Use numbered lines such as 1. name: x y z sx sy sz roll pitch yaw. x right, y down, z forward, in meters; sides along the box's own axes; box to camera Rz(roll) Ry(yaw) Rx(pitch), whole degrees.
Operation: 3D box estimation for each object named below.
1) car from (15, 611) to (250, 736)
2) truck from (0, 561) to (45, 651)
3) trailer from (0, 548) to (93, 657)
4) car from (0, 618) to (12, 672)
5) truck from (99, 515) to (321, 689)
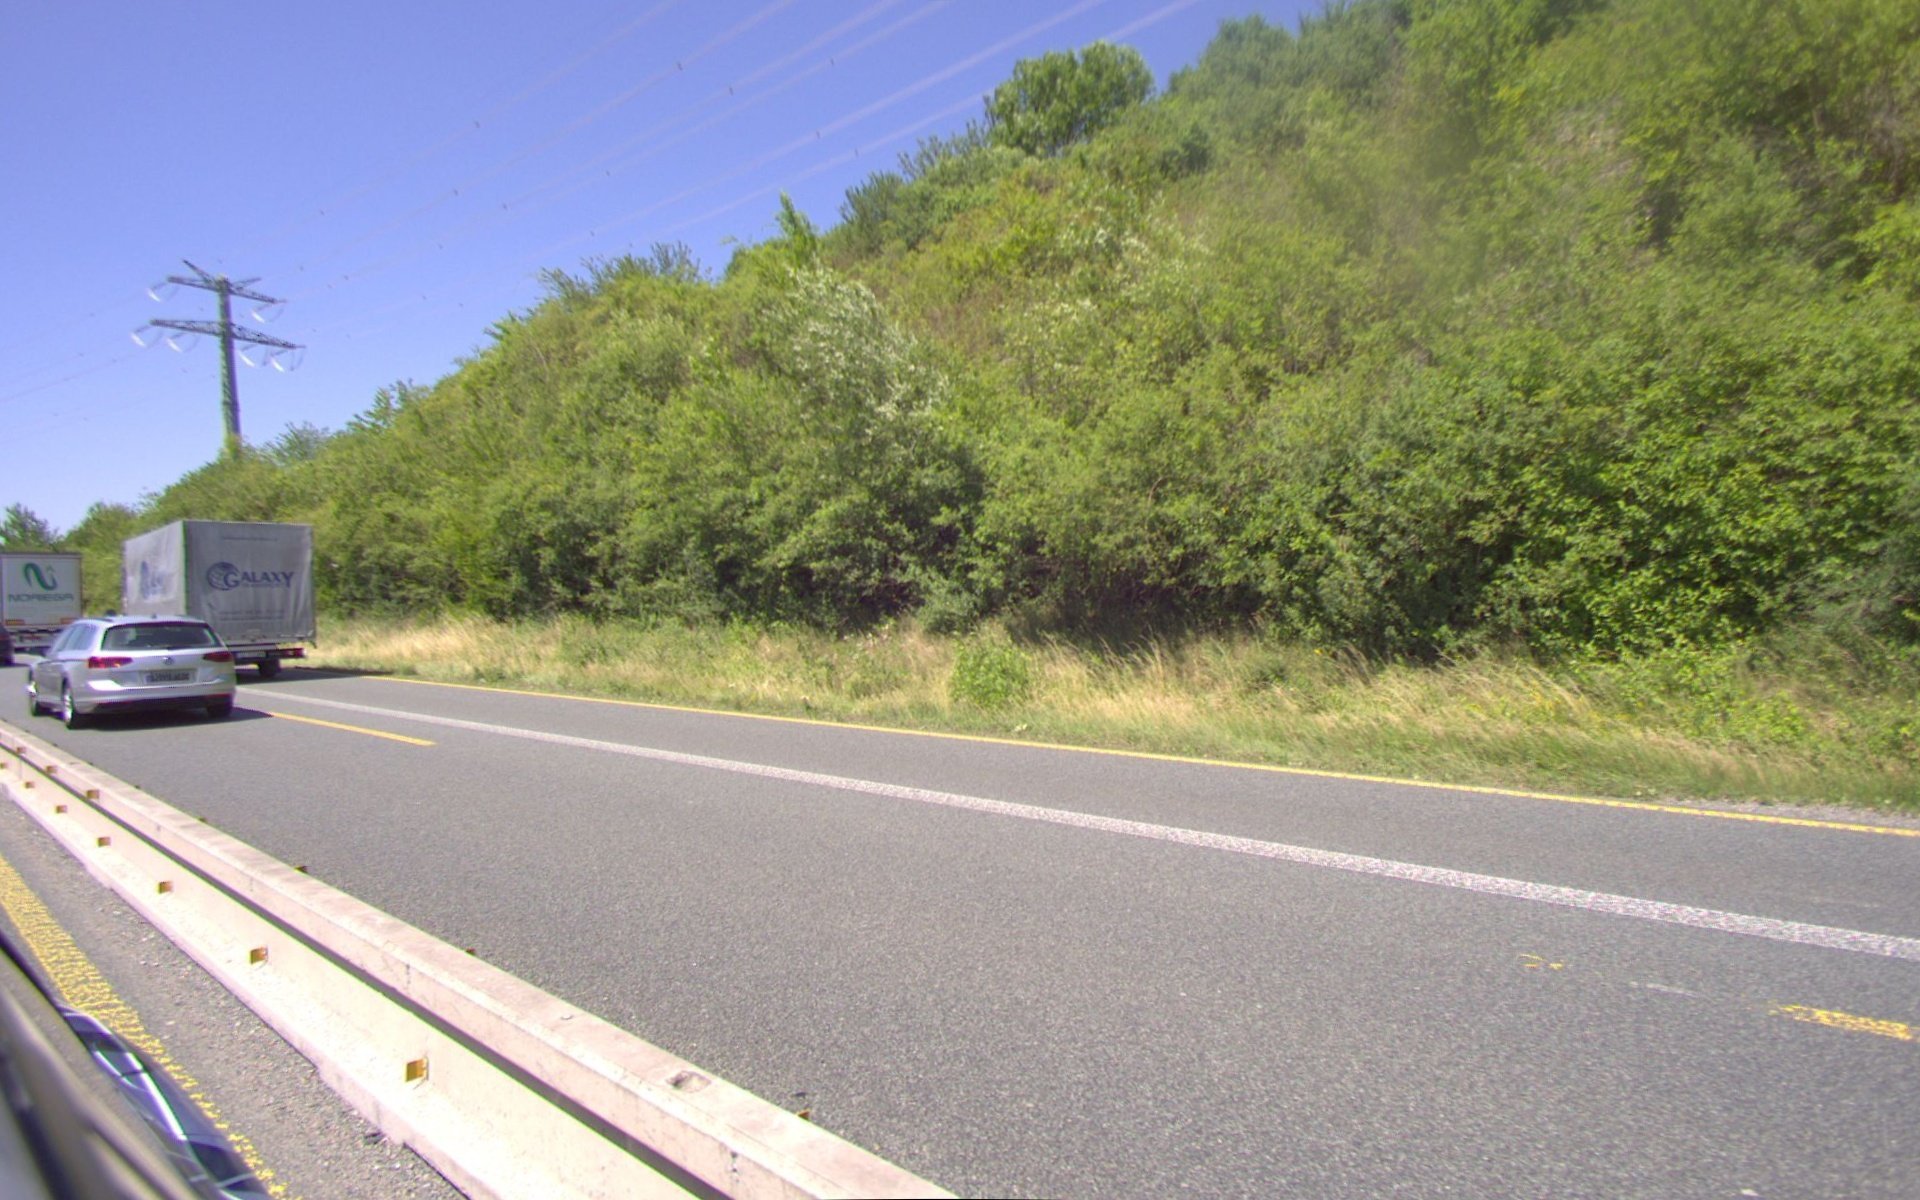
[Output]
1. car: -11.904 0.920 14.447 4.507 1.501 1.823 -1 -1 40
2. truck: -46.428 0.313 48.670 6.016 4.149 2.865 -1 -1 40
3. trailer: -40.804 0.179 43.845 13.234 4.156 2.862 -1 0 40
4. car: -29.445 1.319 29.866 4.400 1.501 1.742 -1 1 42
5. truck: -17.114 0.085 22.862 7.495 3.355 2.381 -1 0 41
